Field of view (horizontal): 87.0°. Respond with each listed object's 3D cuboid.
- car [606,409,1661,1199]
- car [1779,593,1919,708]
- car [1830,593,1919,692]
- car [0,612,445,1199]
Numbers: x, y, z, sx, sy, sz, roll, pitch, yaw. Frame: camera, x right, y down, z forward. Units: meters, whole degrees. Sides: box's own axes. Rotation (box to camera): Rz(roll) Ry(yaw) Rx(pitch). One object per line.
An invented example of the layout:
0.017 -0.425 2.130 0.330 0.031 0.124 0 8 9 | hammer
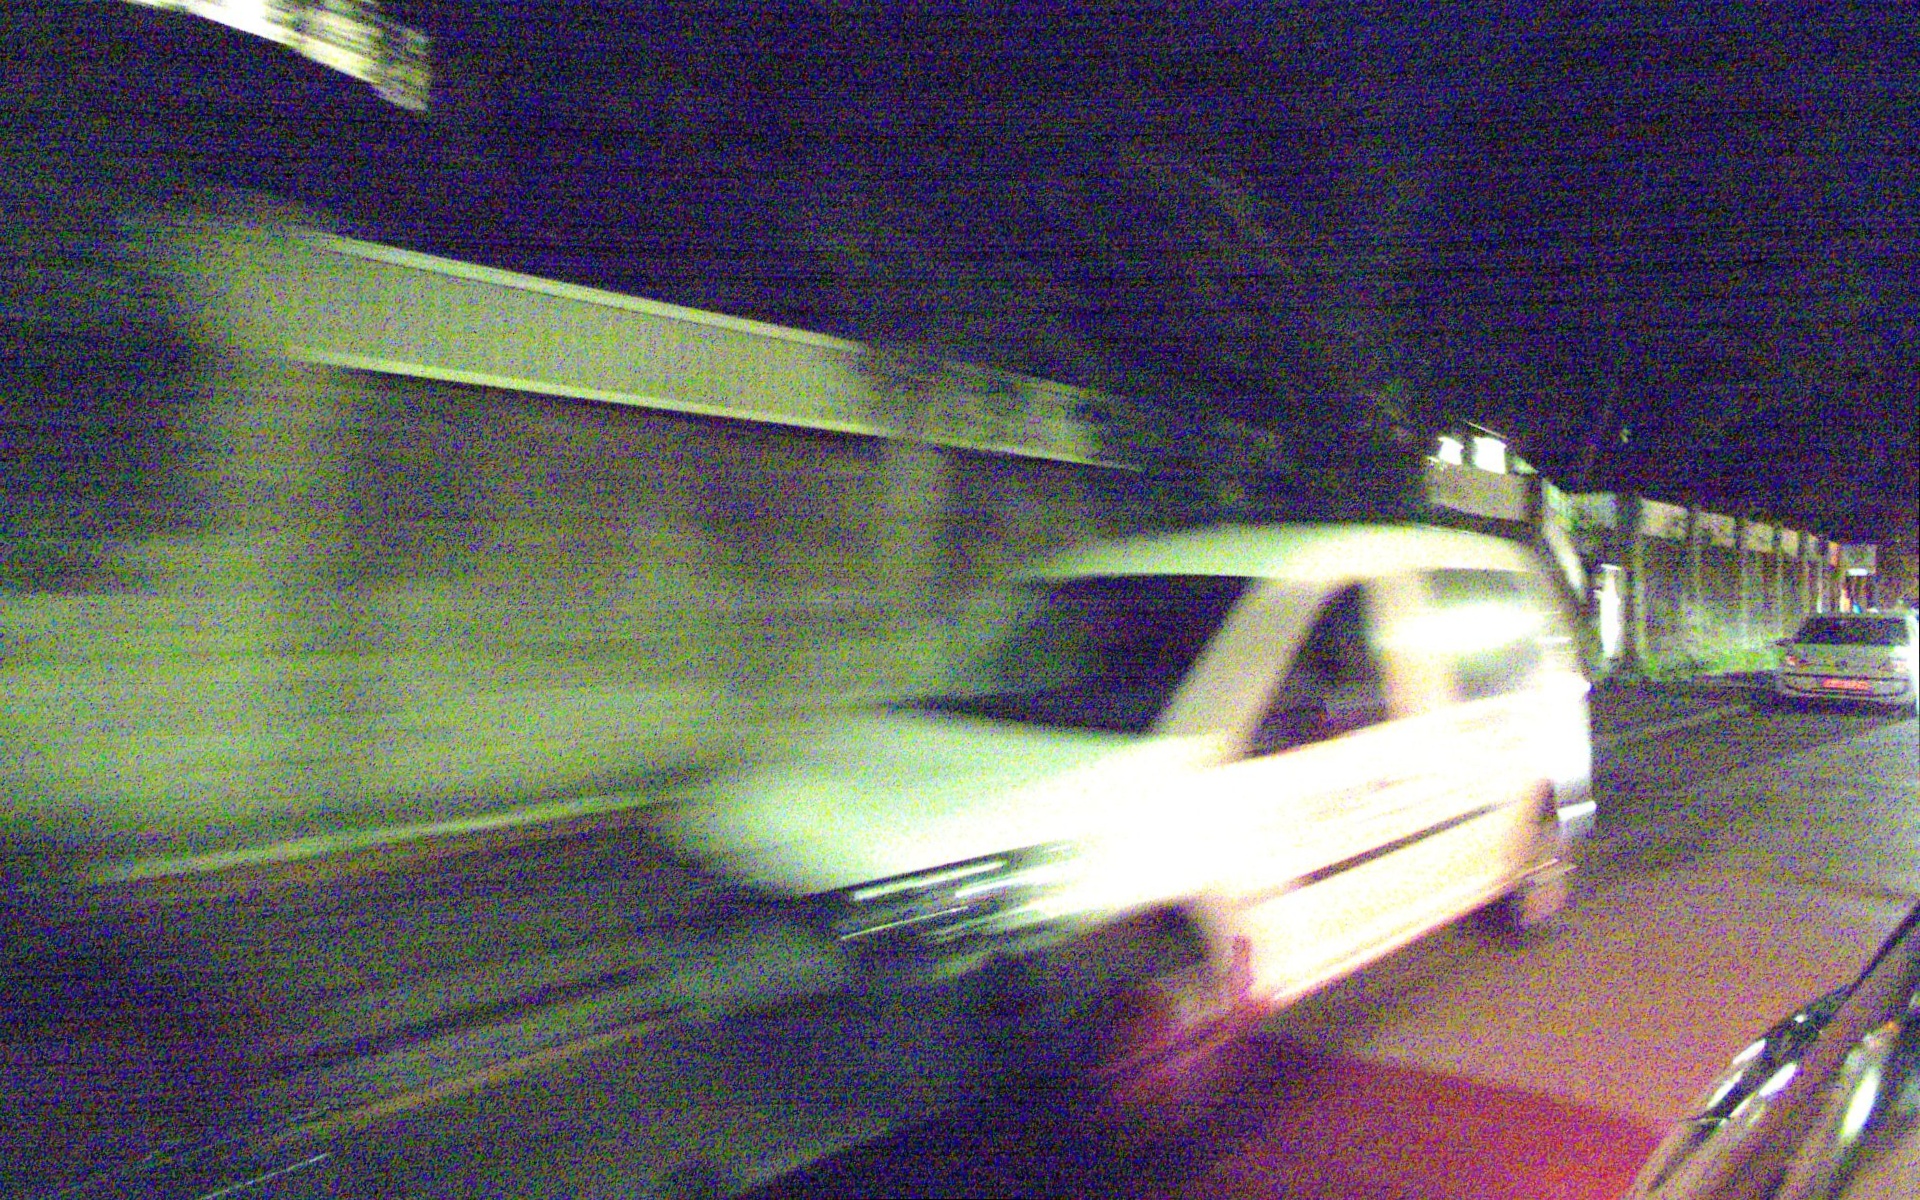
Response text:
1.161 0.506 4.191 4.674 1.783 1.722 0 0 -40 | car
13.946 0.732 15.424 3.651 1.479 1.612 2 2 -41 | car
17.347 0.715 18.262 4.643 1.614 1.758 1 -1 -40 | car
-2.804 0.788 0.595 4.183 1.489 1.746 -1 -1 -41 | car
